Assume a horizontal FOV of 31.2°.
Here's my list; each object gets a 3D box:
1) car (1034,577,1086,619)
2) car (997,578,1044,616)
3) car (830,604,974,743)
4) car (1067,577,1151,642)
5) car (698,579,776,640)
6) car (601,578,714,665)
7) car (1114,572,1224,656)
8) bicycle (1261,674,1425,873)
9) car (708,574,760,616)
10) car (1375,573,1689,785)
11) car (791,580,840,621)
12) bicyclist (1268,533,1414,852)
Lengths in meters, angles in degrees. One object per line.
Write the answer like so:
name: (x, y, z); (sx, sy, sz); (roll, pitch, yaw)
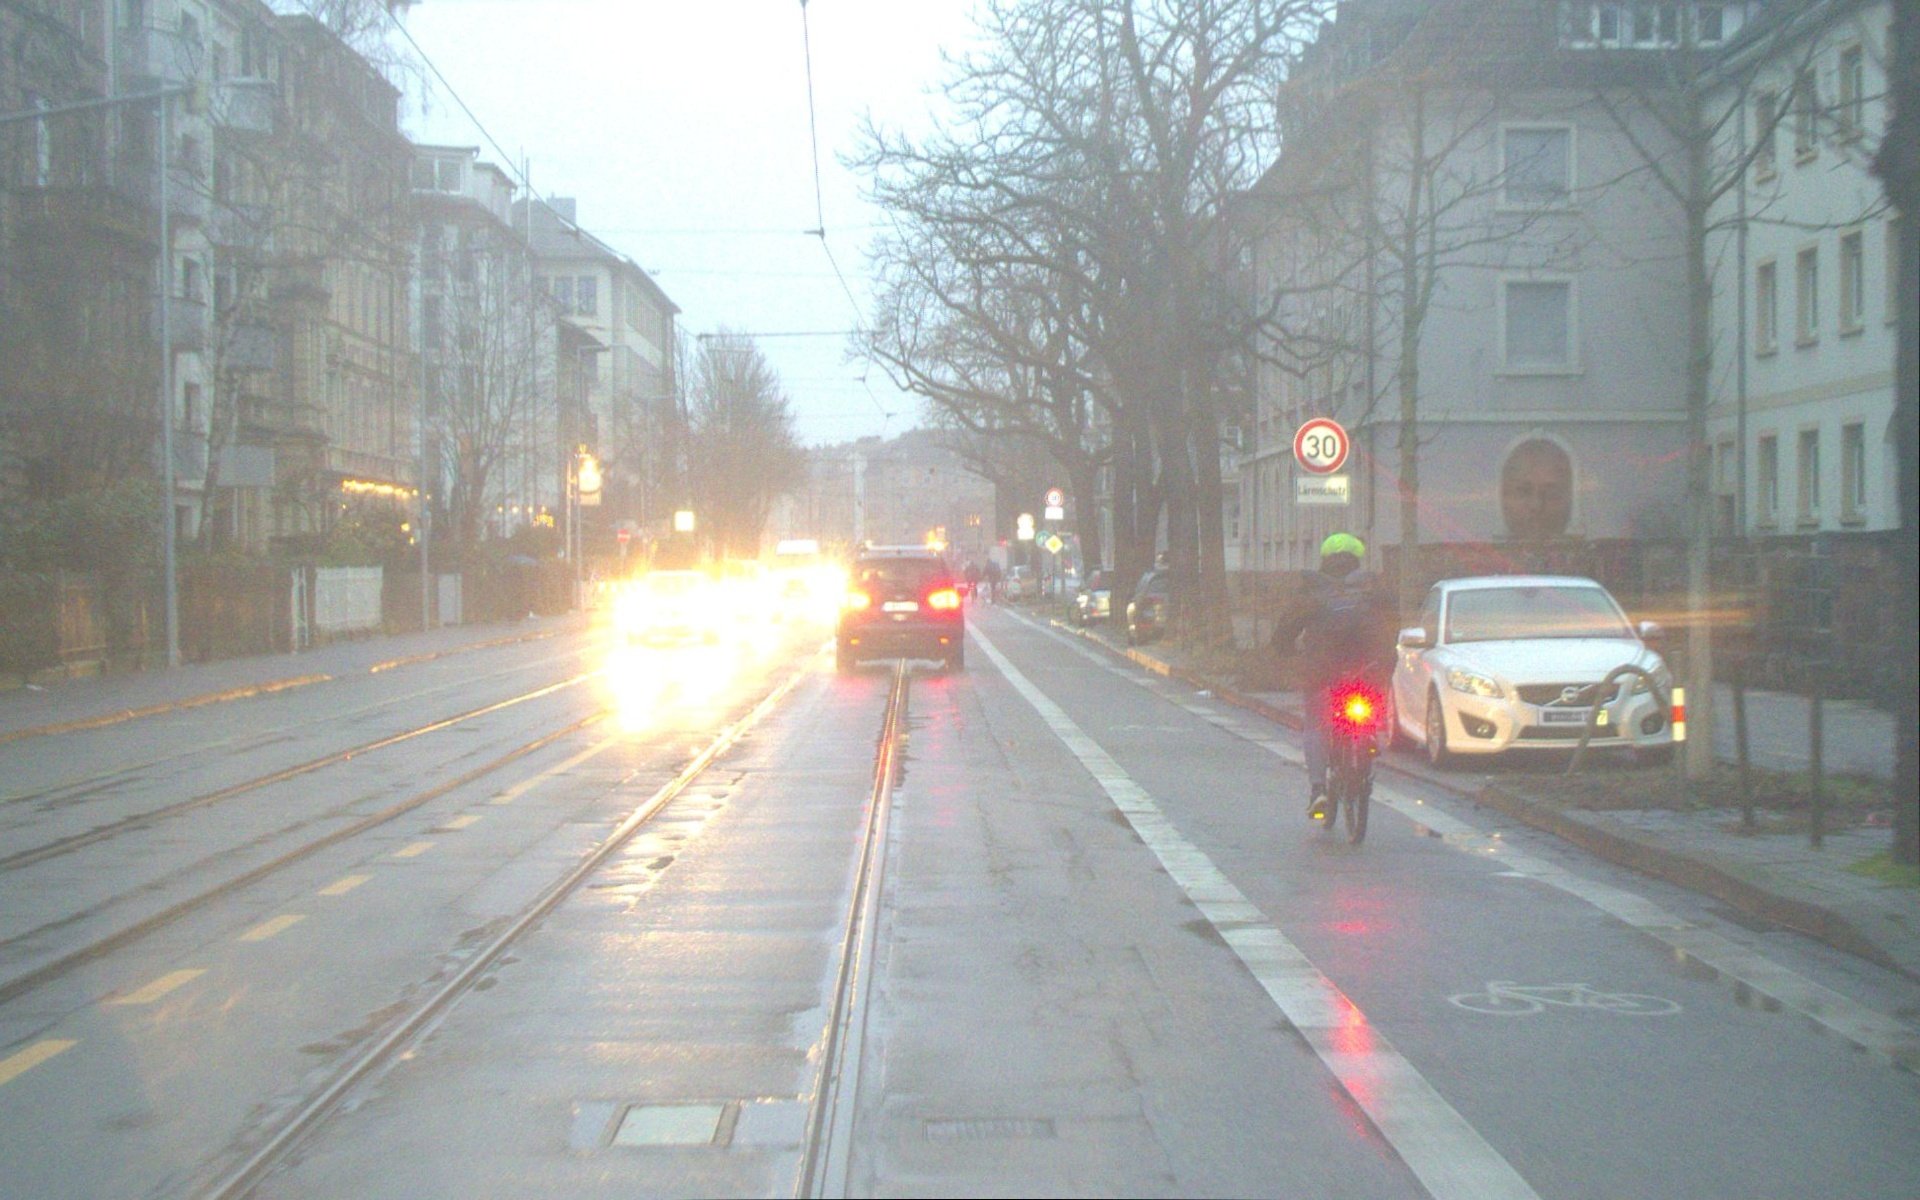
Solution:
car: (3.713, -0.089, 128.213); (1.785, 1.504, 4.108); (0, 0, 0)
car: (2.479, -0.132, 141.398); (1.785, 1.504, 4.108); (0, 0, 0)
car: (-0.809, 1.039, 50.577); (1.802, 1.864, 4.018); (2, 0, 3)
car: (3.554, 0.200, 82.527); (1.785, 1.504, 4.108); (0, 0, 0)
car: (-6.166, 0.245, 95.416); (1.923, 1.656, 4.000); (0, 0, -1)
car: (-5.989, 0.399, 68.469); (1.923, 1.656, 4.000); (0, 0, -1)
car: (3.888, 0.235, 64.501); (1.785, 1.504, 4.108); (0, 0, 0)
bicycle: (2.107, 0.936, 19.090); (0.731, 1.003, 1.764); (0, 0, 1)
car: (-9.497, -0.211, 144.711); (1.923, 1.714, 4.000); (0, 0, -1)
car: (4.347, 0.550, 26.685); (1.785, 1.504, 4.108); (0, 0, 1)
car: (-5.958, 0.003, 142.041); (1.923, 1.656, 4.000); (0, 0, -1)
bicyclist: (2.104, 0.501, 19.075); (0.730, 1.731, 0.765); (0, 0, 1)
